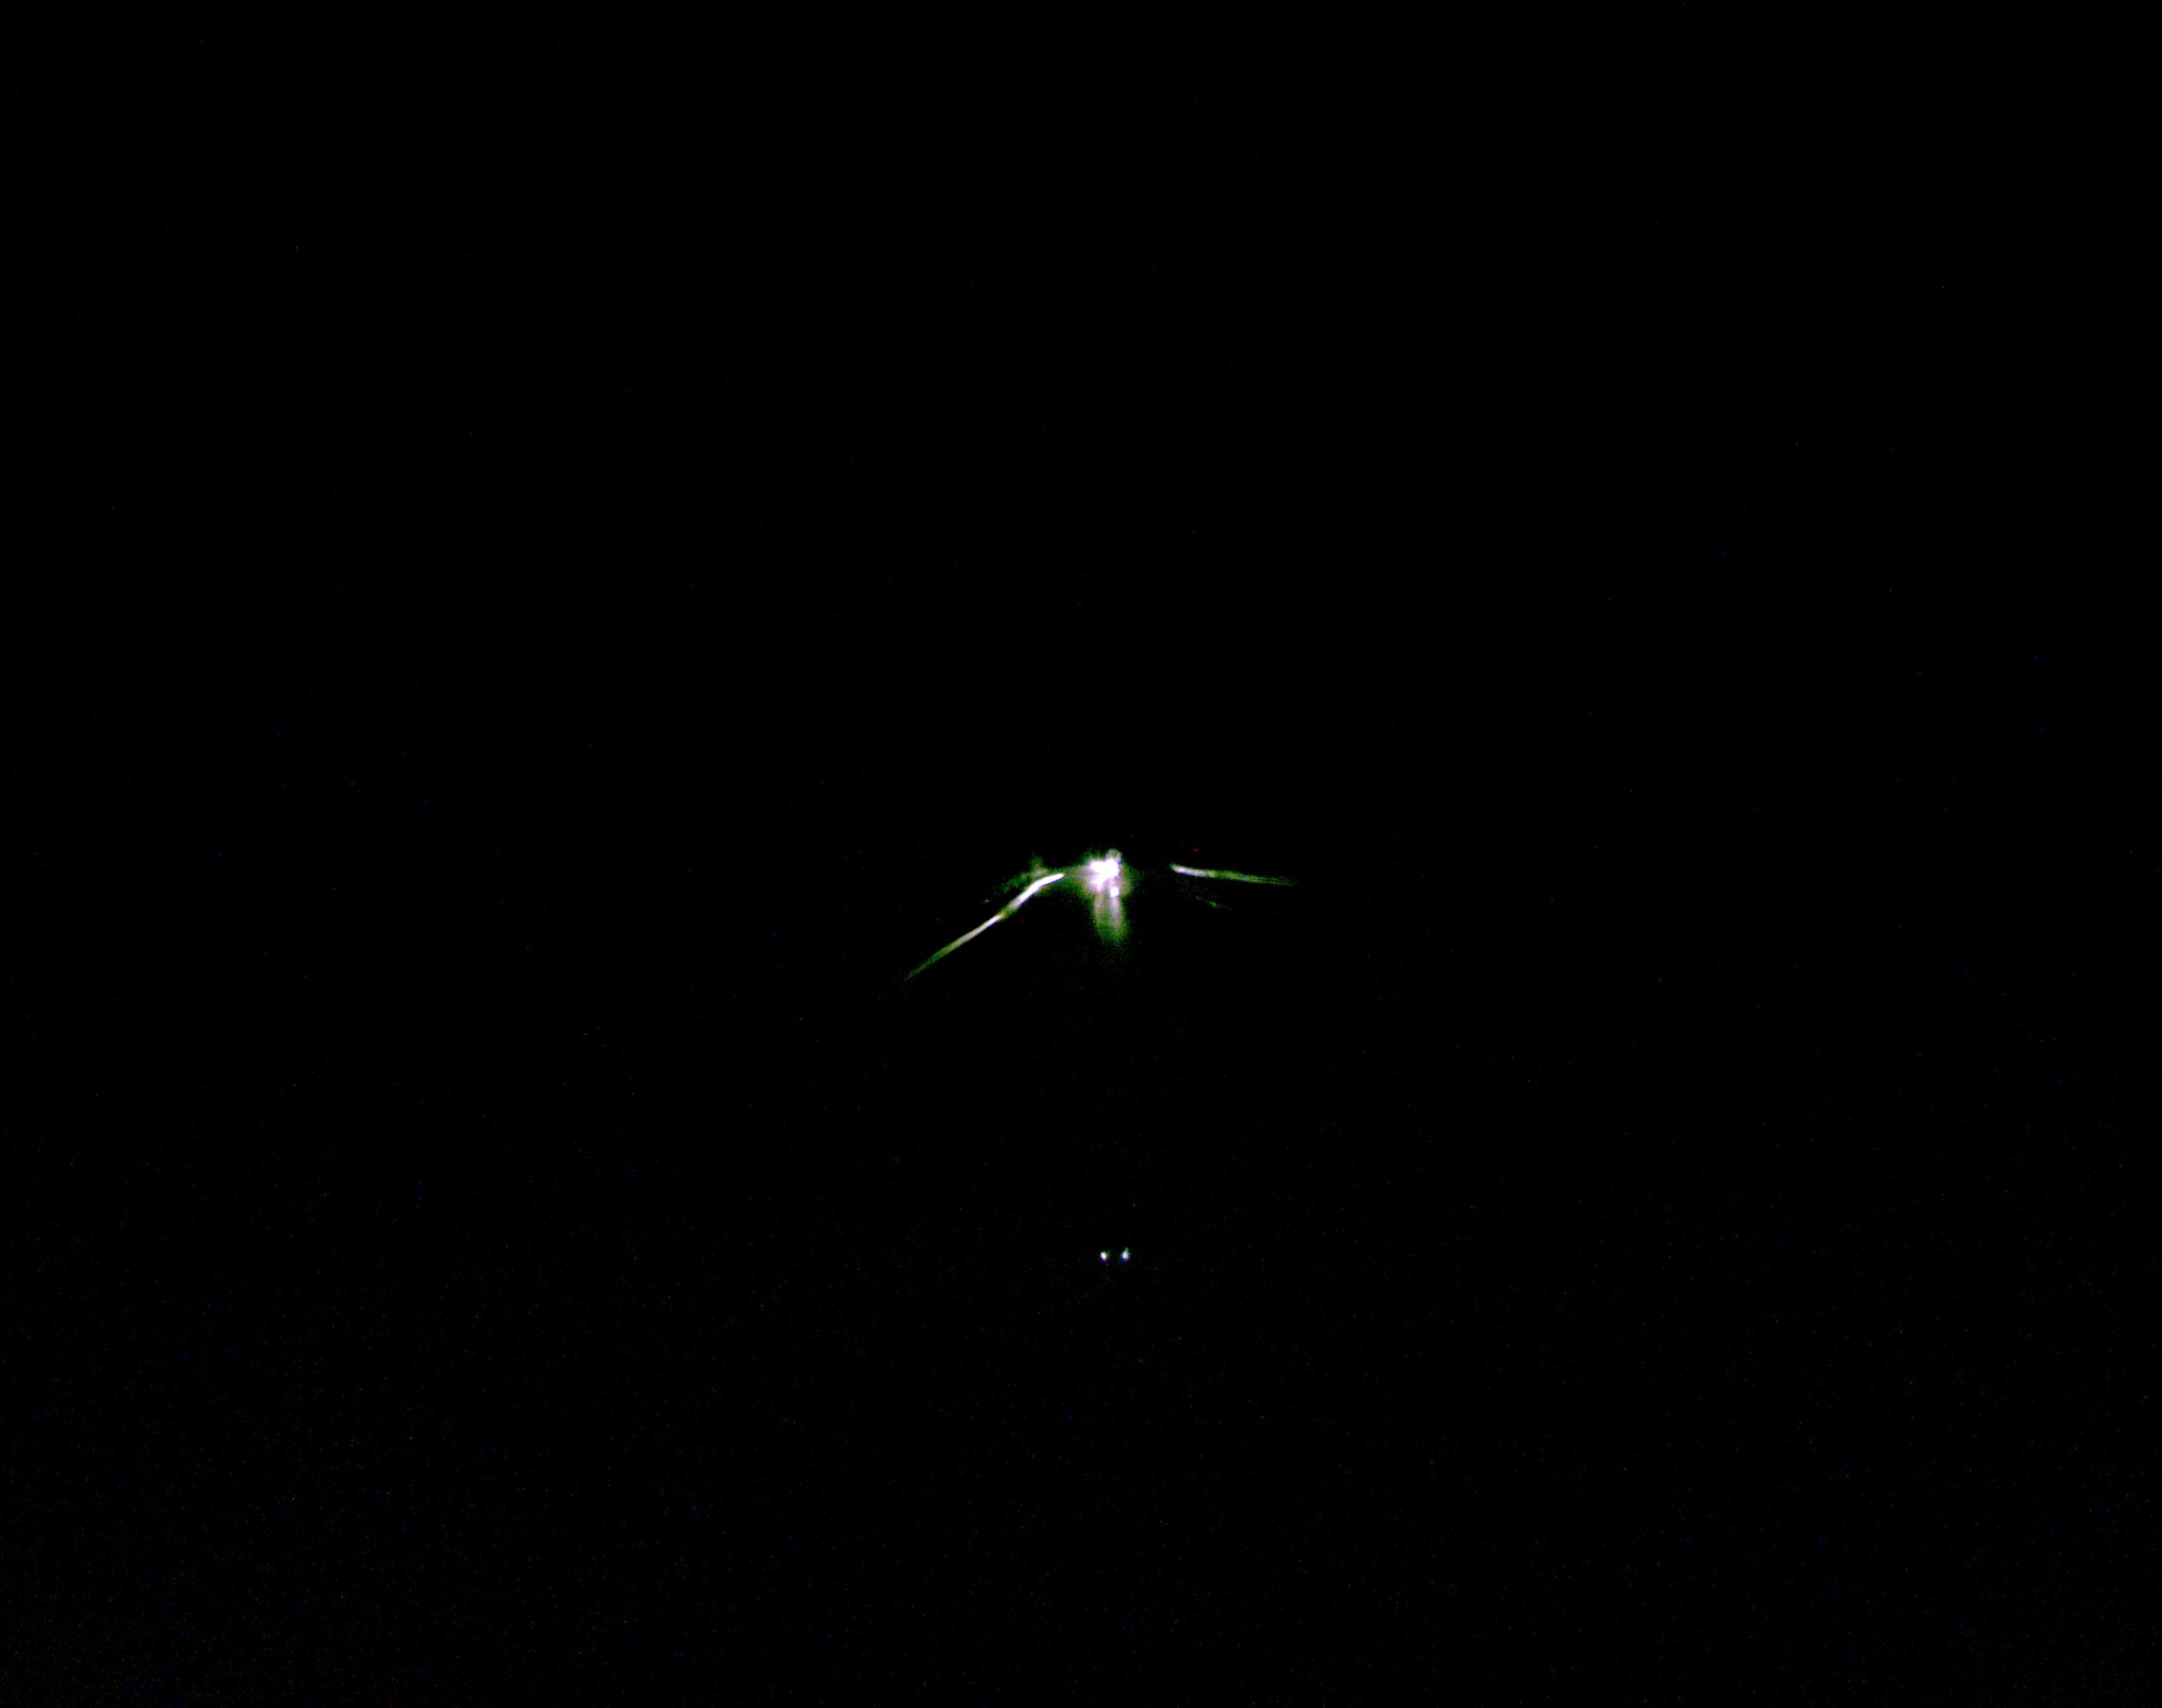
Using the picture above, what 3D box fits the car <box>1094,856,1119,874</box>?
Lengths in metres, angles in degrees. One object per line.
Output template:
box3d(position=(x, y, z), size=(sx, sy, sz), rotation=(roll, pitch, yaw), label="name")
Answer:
box3d(position=(2.219, 0.933, 65.183), size=(1.775, 1.444, 4.139), rotation=(-1, -1, 7), label="car")
